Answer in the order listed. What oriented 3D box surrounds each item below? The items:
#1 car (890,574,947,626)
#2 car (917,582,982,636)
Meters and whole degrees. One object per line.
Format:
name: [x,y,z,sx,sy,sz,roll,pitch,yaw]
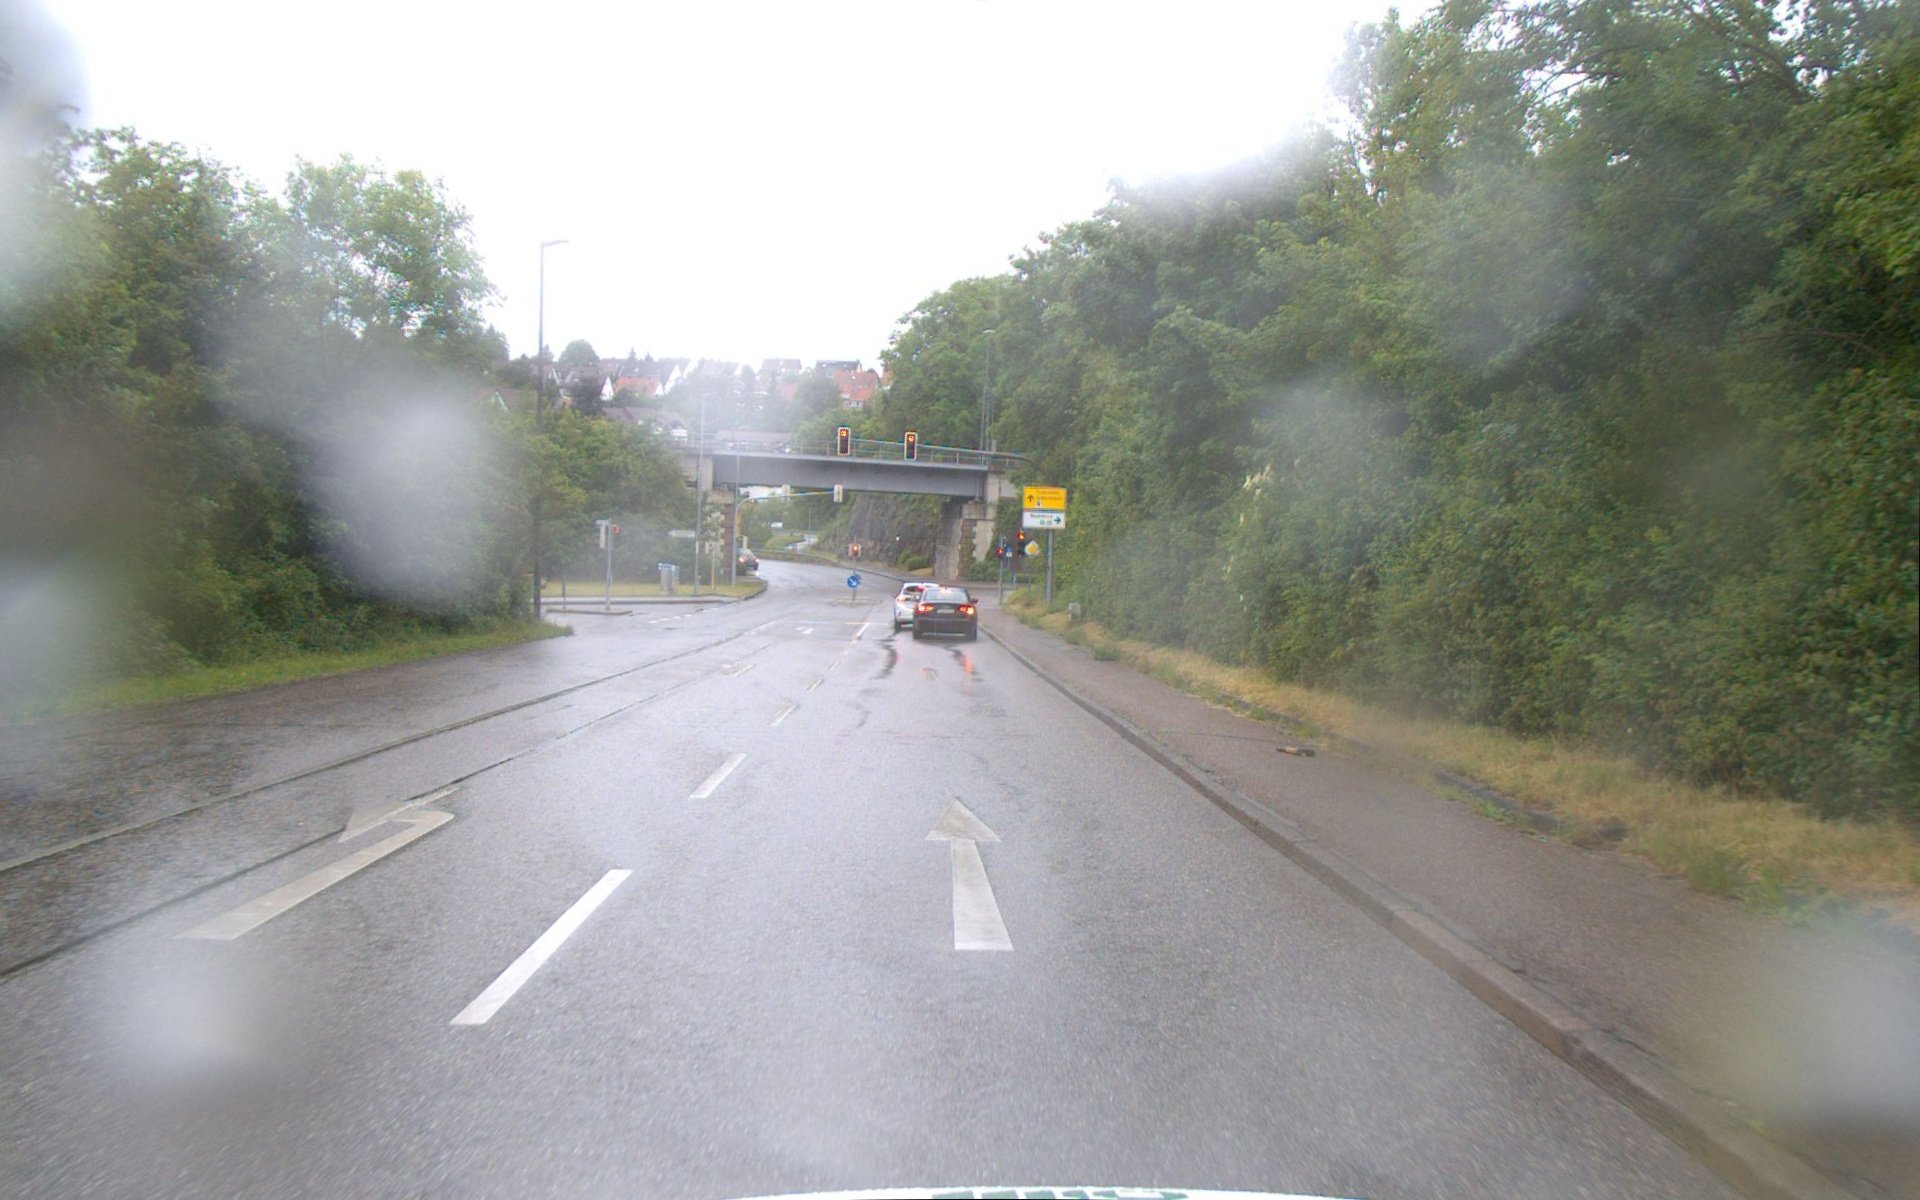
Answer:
car: [-1.312,-0.005,52.611,1.732,1.590,3.999,0,0,-1]
car: [-0.306,0.227,45.969,1.732,1.404,3.999,0,0,-1]
